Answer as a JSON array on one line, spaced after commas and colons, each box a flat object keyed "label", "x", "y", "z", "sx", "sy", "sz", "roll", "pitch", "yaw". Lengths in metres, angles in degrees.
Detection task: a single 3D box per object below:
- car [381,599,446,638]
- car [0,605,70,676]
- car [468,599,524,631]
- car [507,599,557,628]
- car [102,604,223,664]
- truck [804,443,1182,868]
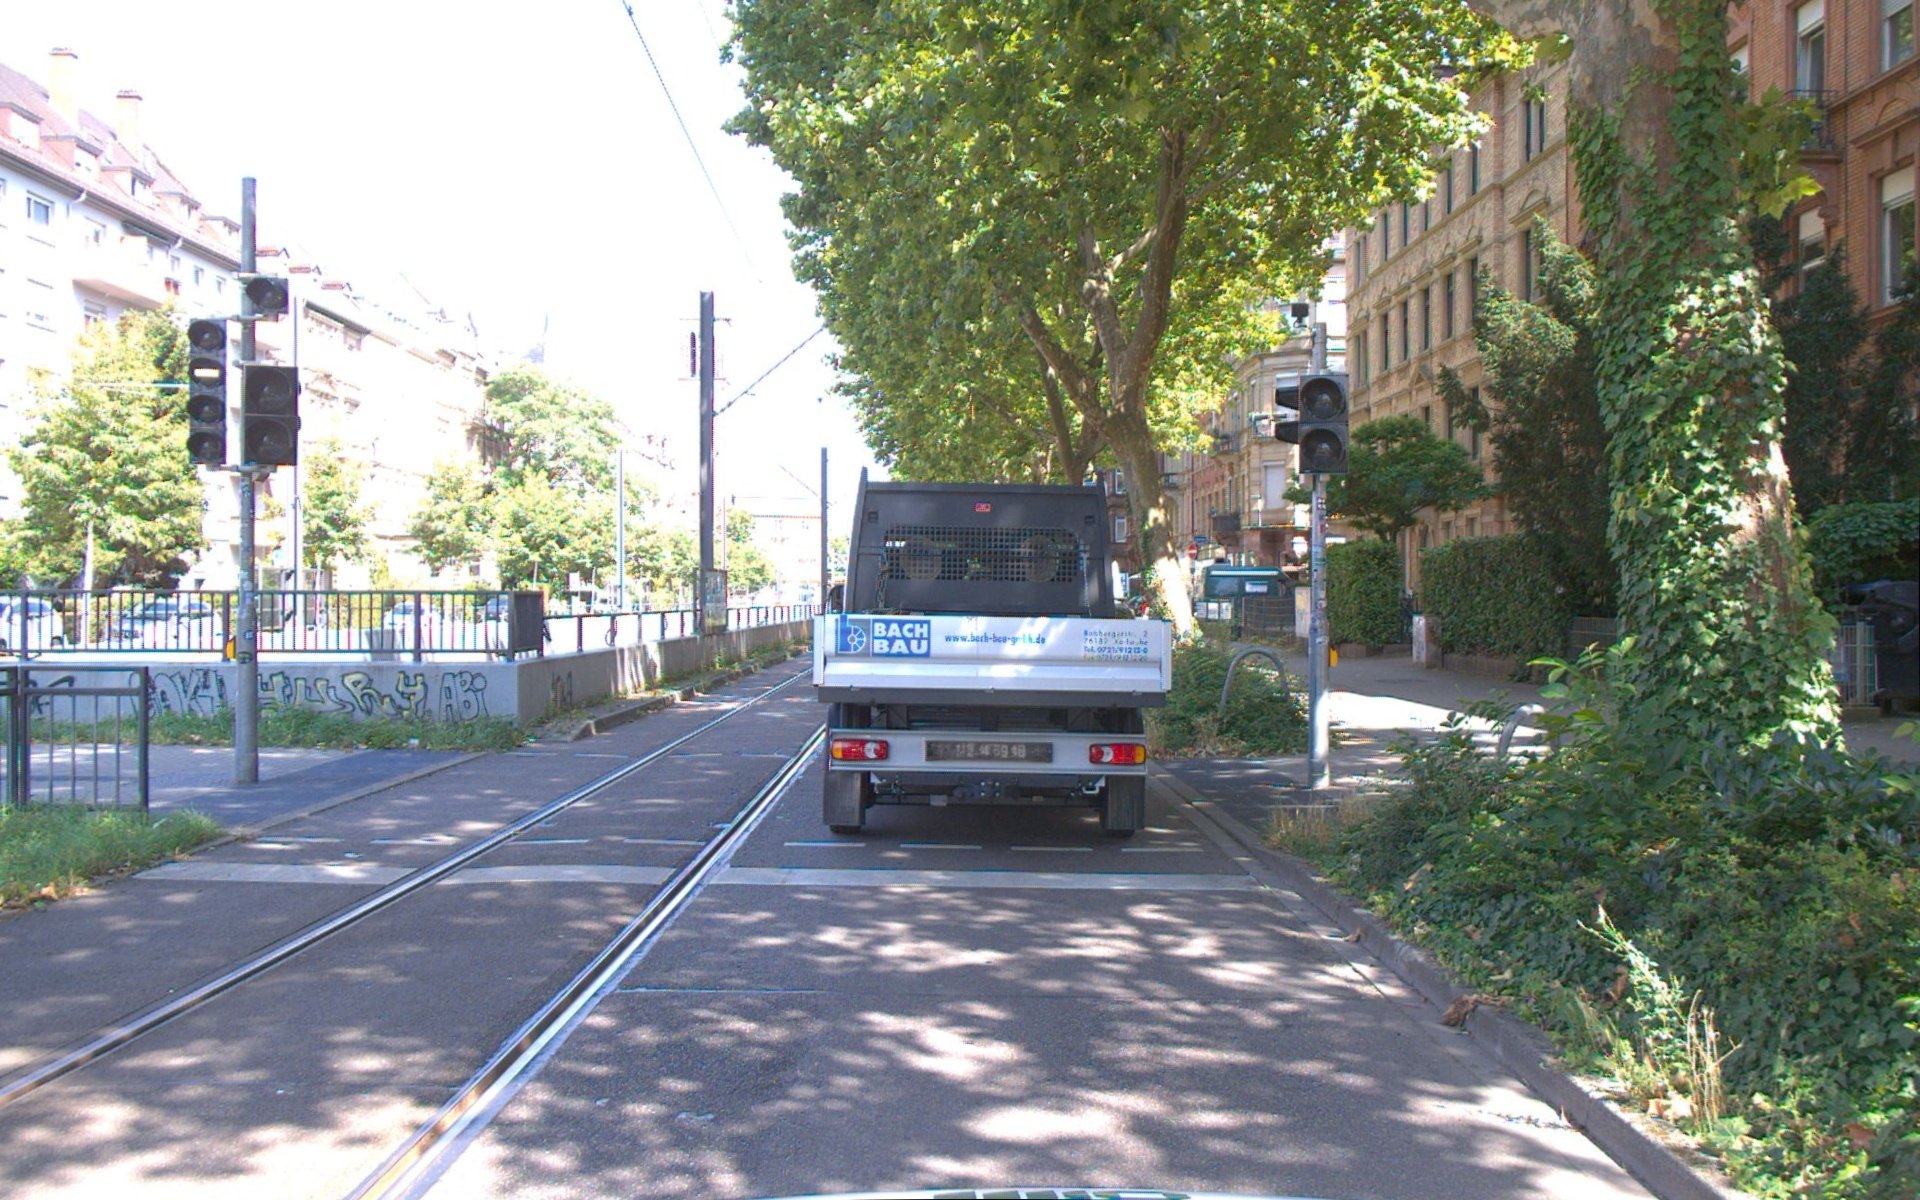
[{"label": "car", "x": -22.172, "y": 0.713, "z": 67.230, "sx": 1.736, "sy": 1.524, "sz": 3.994, "roll": 0, "pitch": 0, "yaw": -6}, {"label": "car", "x": -21.780, "y": 0.901, "z": 37.162, "sx": 1.737, "sy": 1.524, "sz": 3.994, "roll": -2, "pitch": 0, "yaw": -6}, {"label": "car", "x": -22.629, "y": 0.712, "z": 80.735, "sx": 1.735, "sy": 1.524, "sz": 3.998, "roll": 0, "pitch": 0, "yaw": -2}, {"label": "car", "x": -22.894, "y": 0.710, "z": 88.568, "sx": 1.735, "sy": 1.524, "sz": 3.998, "roll": 0, "pitch": 0, "yaw": -2}, {"label": "car", "x": -21.932, "y": 0.902, "z": 45.634, "sx": 1.737, "sy": 1.524, "sz": 3.994, "roll": -2, "pitch": 0, "yaw": -6}, {"label": "truck", "x": 0.159, "y": 0.309, "z": 11.452, "sx": 2.095, "sy": 2.359, "sz": 4.400, "roll": 0, "pitch": 0, "yaw": -1}]
